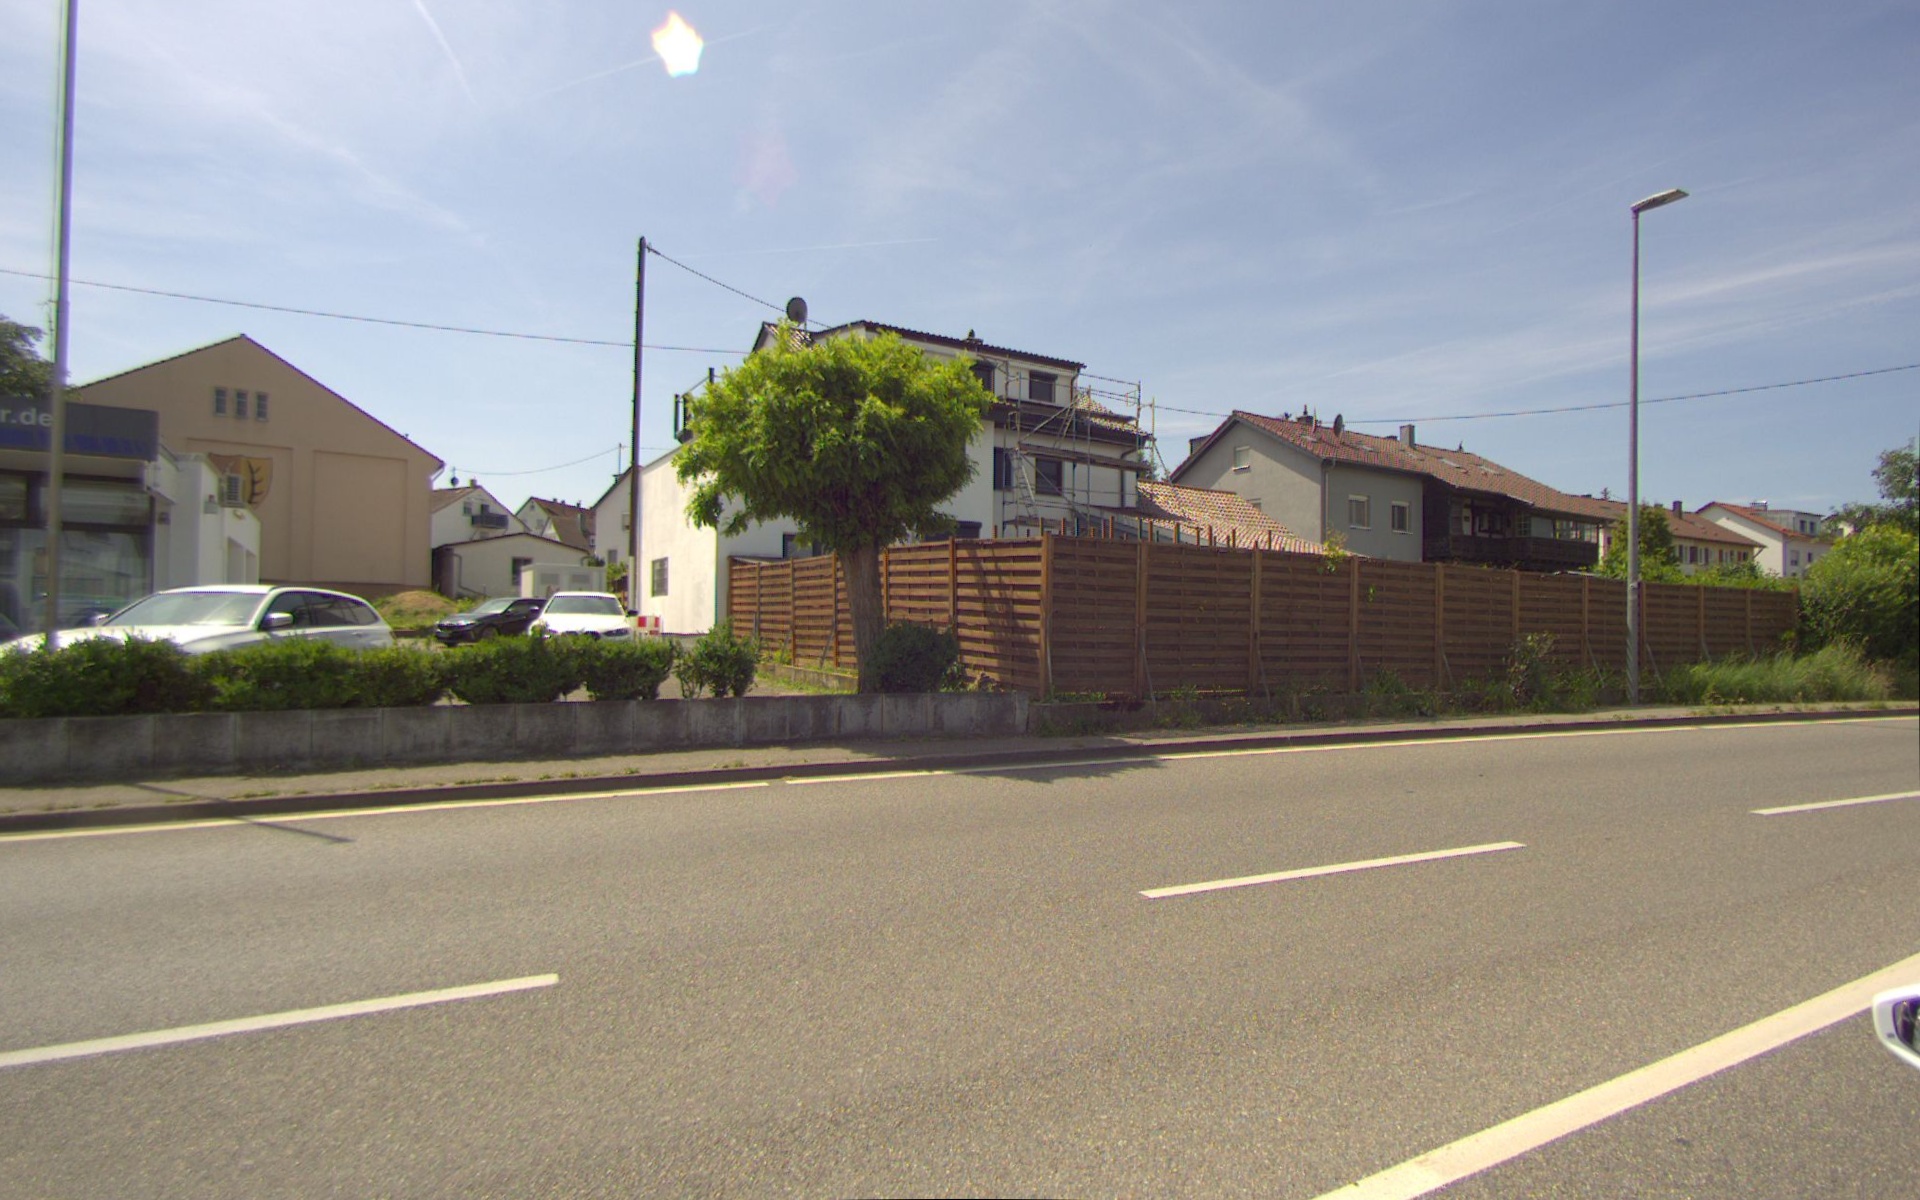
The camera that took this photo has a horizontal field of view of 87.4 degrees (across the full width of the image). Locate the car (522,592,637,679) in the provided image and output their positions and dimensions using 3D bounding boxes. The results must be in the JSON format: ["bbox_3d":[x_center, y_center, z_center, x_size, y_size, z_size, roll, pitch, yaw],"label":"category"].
[{"bbox_3d":[-7.391,0.635,19.837,1.805,1.530,3.985,1,0,-17],"label":"car"}]

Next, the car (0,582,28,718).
[{"bbox_3d":[-11.133,0.504,8.926,1.863,1.467,4.339,2,0,-5],"label":"car"}]

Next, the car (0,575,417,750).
[{"bbox_3d":[-7.846,0.550,10.895,1.822,1.467,4.339,2,0,-5],"label":"car"}]

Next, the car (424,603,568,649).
[{"bbox_3d":[-14.382,0.764,31.343,1.756,1.238,3.999,2,1,21],"label":"car"}]
